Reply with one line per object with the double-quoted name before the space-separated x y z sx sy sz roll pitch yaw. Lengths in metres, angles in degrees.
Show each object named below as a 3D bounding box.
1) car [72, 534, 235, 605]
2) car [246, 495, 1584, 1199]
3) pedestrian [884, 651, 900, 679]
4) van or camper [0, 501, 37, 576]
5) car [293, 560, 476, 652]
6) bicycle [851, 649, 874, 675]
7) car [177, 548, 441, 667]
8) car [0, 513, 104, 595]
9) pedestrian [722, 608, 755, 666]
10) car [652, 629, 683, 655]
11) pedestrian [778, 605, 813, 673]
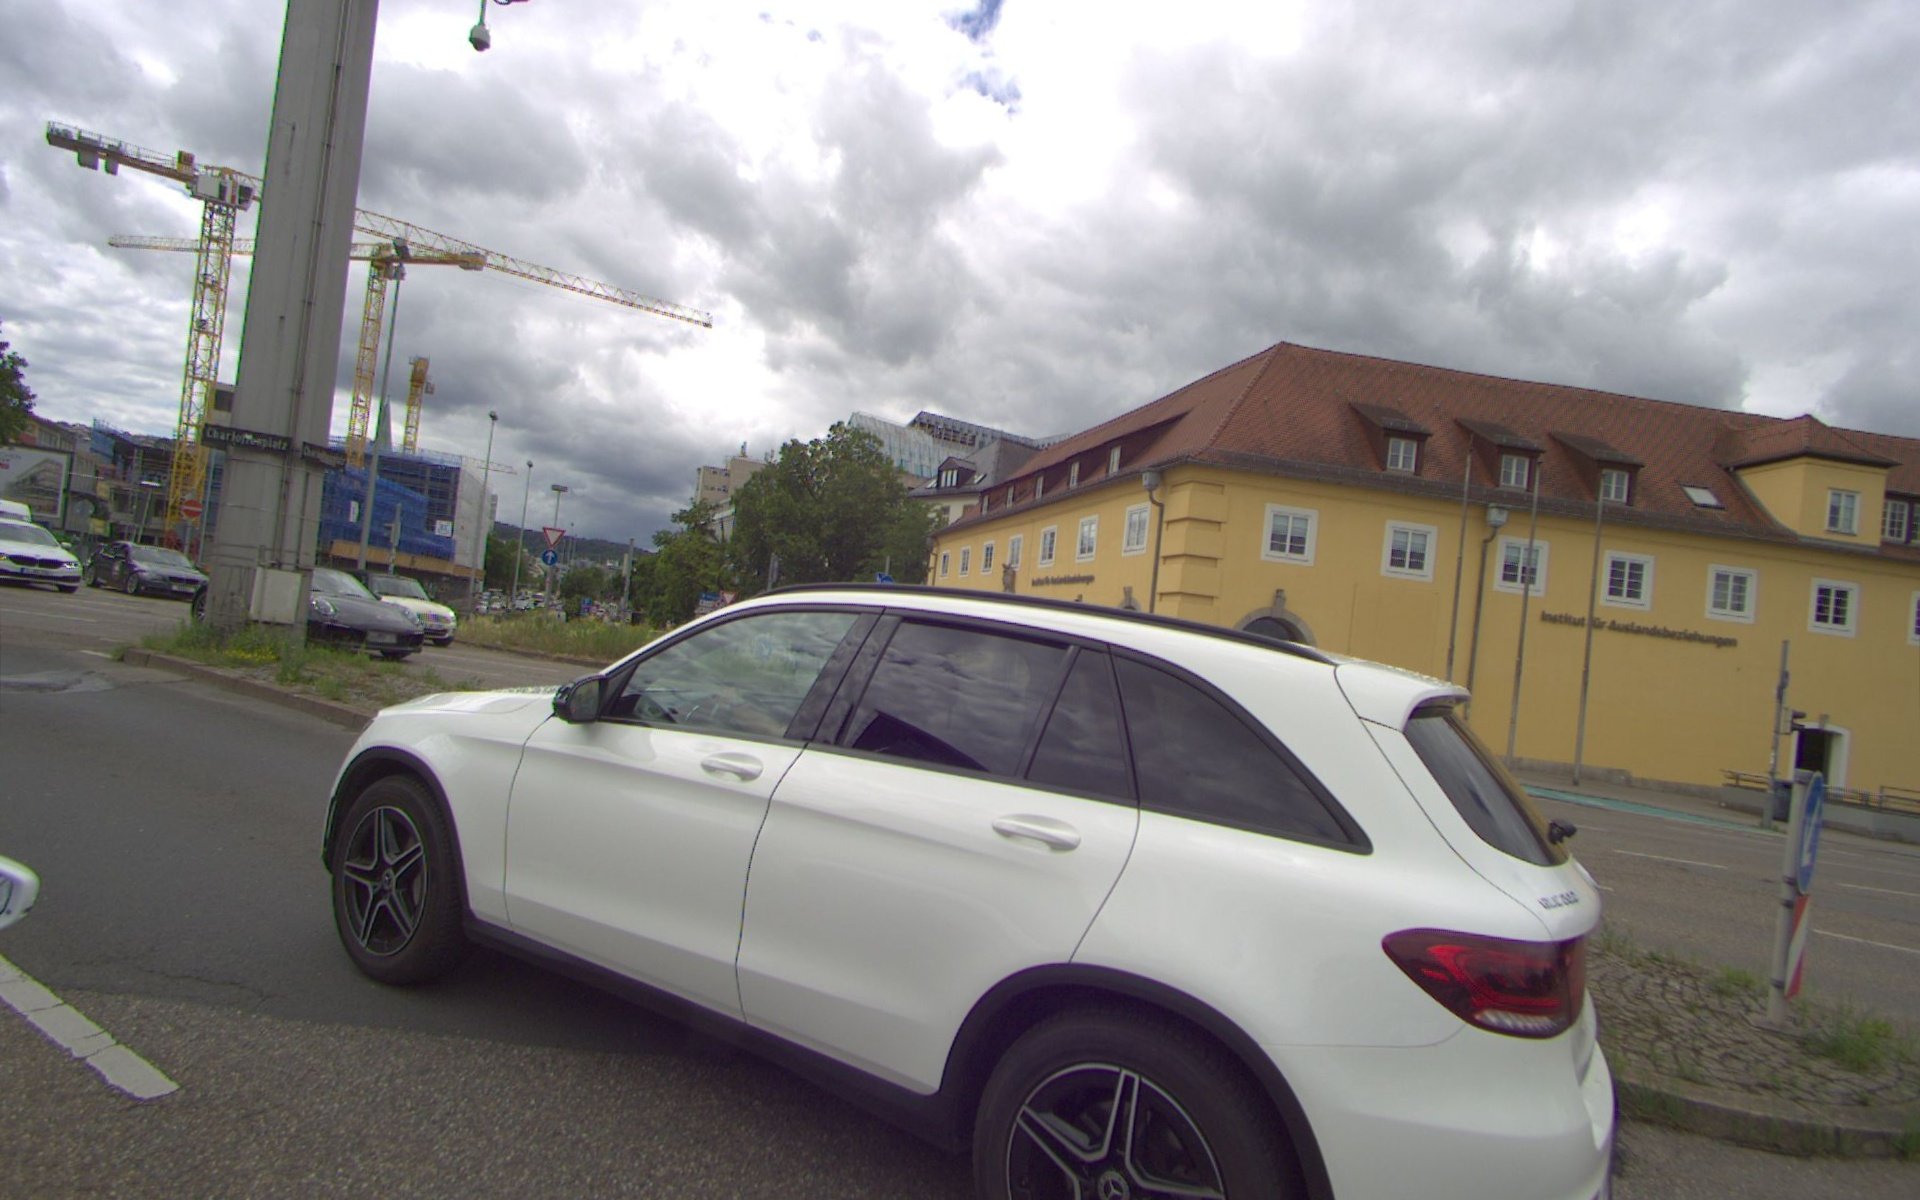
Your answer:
"car" -21.906 -0.830 27.315 4.336 1.347 1.760 6 -4 28
"car" -0.400 0.737 3.621 4.261 1.665 1.806 7 -2 30
"pedestrian" -3.907 3.726 57.560 0.617 1.467 0.722 8 -1 -11
"van or camper" -36.286 -2.461 37.234 6.074 2.504 2.141 5 -4 40
"car" -12.612 0.133 22.036 3.585 1.434 1.729 7 -3 29
"bicycle" -4.640 2.927 47.622 0.612 1.098 1.767 8 -3 -17
"car" -10.259 0.105 15.810 3.987 1.279 1.675 7 -2 28
"car" -21.934 -1.172 23.140 4.959 1.521 1.998 5 -4 33
"pedestrian" -7.323 1.215 33.245 0.742 1.809 0.825 8 -2 -19
"car" -21.299 3.046 73.108 1.852 1.618 3.991 9 -5 -17
"pedestrian" -4.900 1.164 29.960 0.554 1.917 0.632 8 0 -38
